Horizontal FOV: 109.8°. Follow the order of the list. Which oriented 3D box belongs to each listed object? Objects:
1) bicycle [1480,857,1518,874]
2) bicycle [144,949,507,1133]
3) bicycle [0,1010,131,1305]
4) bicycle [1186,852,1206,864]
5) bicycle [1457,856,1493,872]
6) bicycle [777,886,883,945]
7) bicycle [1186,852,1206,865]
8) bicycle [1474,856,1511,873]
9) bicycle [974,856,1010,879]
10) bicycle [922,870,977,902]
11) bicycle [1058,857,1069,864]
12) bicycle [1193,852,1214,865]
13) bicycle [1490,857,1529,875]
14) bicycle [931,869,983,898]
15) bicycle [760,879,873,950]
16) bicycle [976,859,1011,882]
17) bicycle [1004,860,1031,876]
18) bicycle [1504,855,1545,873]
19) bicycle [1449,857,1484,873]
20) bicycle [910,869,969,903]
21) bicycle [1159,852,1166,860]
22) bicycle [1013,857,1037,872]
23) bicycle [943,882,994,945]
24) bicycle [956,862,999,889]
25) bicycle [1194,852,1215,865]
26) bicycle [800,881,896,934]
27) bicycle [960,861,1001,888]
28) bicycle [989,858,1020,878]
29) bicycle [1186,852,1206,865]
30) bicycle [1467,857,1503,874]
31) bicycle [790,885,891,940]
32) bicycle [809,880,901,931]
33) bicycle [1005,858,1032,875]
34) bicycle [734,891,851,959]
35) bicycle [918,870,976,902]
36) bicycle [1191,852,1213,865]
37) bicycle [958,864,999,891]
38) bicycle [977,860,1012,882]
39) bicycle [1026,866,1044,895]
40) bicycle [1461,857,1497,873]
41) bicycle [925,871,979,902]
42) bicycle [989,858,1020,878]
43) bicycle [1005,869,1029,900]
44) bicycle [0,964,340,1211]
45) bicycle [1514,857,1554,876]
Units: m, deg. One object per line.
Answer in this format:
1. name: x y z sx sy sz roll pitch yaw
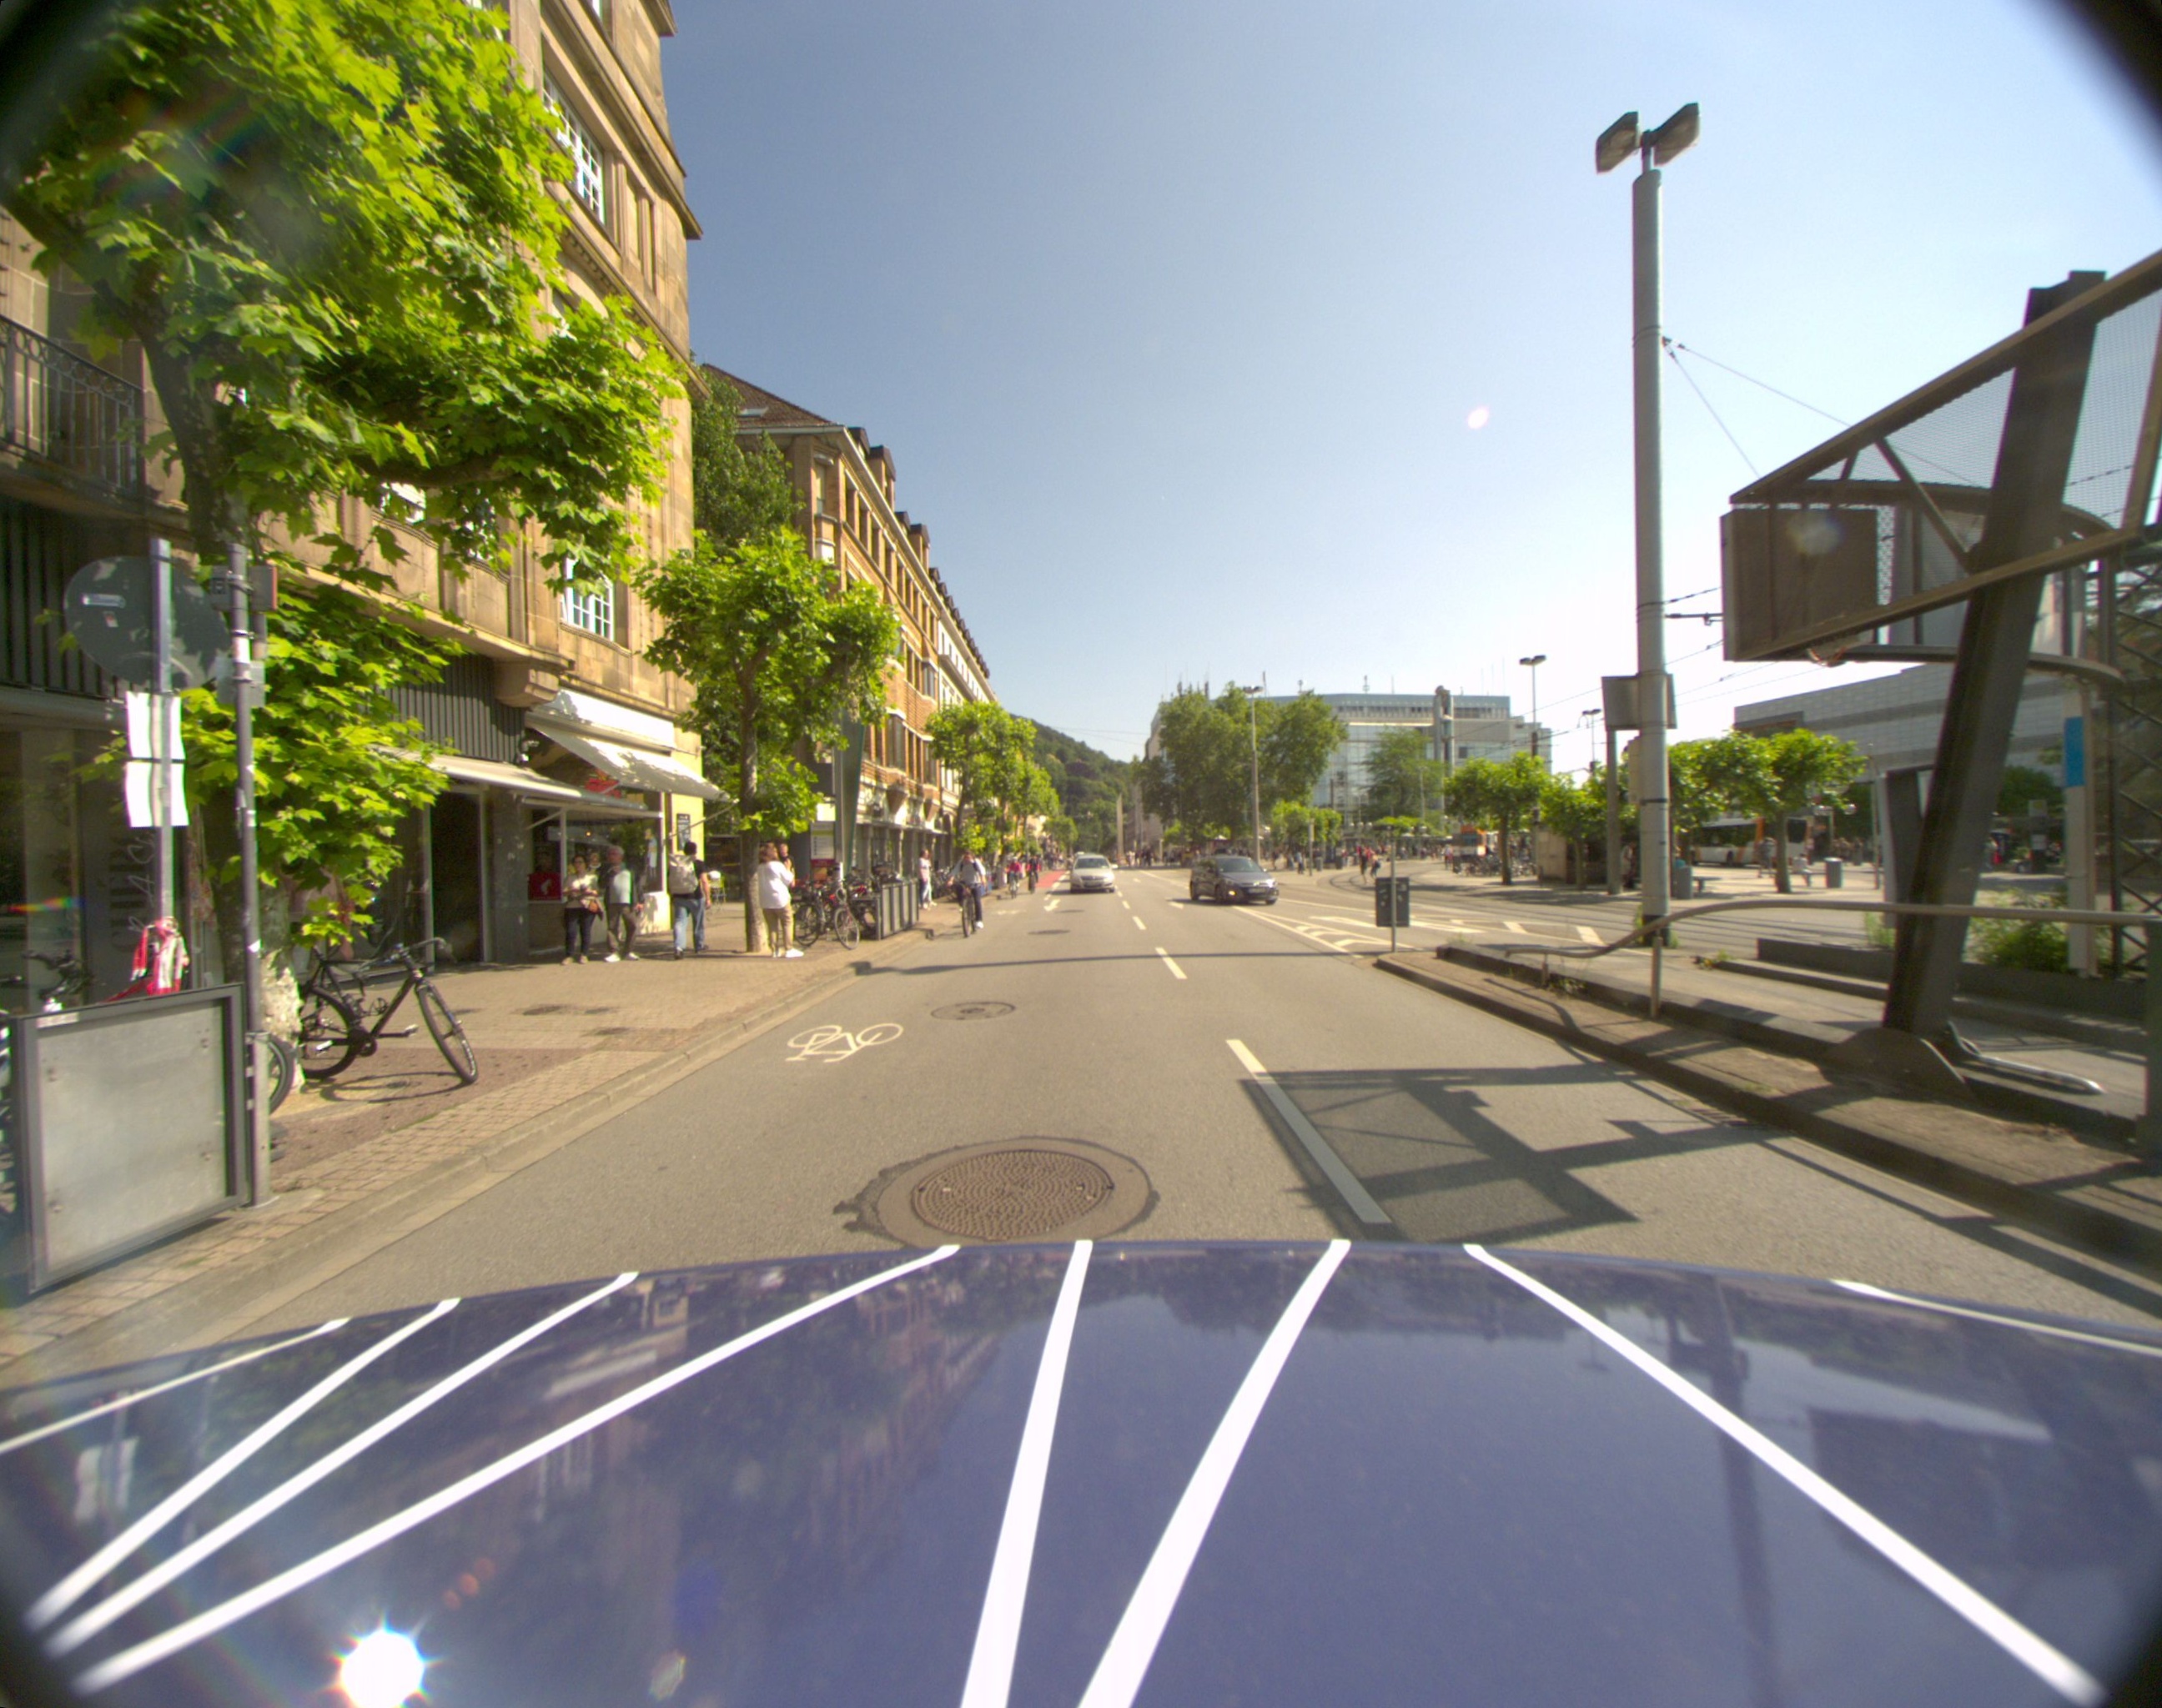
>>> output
1. bicycle: 22.875 0.636 41.581 1.871 0.851 0.546 -2 1 -12
2. bicycle: -4.722 1.153 4.814 1.757 1.012 0.483 -1 1 -2
3. bicycle: -4.885 1.174 2.930 1.757 1.012 0.483 -1 1 -2
4. bicycle: 10.664 0.359 70.512 1.757 1.140 0.483 -1 1 -2
5. bicycle: 22.636 0.566 43.666 1.871 0.867 0.583 -2 1 -12
6. bicycle: -4.596 1.118 13.978 1.757 1.012 0.557 -1 1 -2
7. bicycle: 10.566 0.393 69.890 1.757 1.140 0.483 -1 1 -2
8. bicycle: 22.808 0.588 42.127 1.871 0.851 0.546 -2 1 -12
9. bicycle: -4.518 0.703 38.593 1.757 1.140 0.483 -1 1 -2
10. bicycle: -4.354 1.055 25.225 1.757 1.012 0.483 -1 1 -2
11. bicycle: -2.794 1.003 120.349 1.757 1.140 0.592 -1 1 -2
12. bicycle: 10.707 0.398 66.616 1.757 1.140 0.483 -1 1 -2
13. bicycle: 22.946 0.625 40.707 1.871 0.864 0.581 -2 1 -12
14. bicycle: -4.417 1.045 27.040 1.757 1.012 0.483 -1 1 -2
15. bicycle: -4.631 1.047 13.379 1.757 1.174 0.579 -1 1 -2
16. bicycle: -4.498 0.863 39.090 1.757 1.140 0.483 -1 1 -2
17. bicycle: -4.202 0.933 50.223 1.757 1.062 0.483 -1 1 -2
18. bicycle: 22.814 0.510 39.080 1.871 0.864 0.581 -2 1 -12
19. bicycle: 22.506 0.623 44.322 1.871 0.851 0.546 -2 1 -12
20. bicycle: -4.412 0.991 23.790 1.757 1.012 0.483 -1 1 -2
21. bicycle: 11.652 0.318 108.380 0.729 1.137 1.914 -2 0 14
22. bicycle: -4.181 0.781 57.061 1.778 1.140 0.483 -1 1 -2
23. bicycle: -2.229 1.167 15.311 0.736 1.086 1.897 -2 0 -1
24. bicycle: -4.468 0.916 32.820 1.757 1.140 0.483 -1 1 -2
25. bicycle: 10.728 0.410 66.098 1.757 1.140 0.483 -1 1 -2
26. bicycle: -4.694 1.066 15.366 1.757 1.012 0.483 -1 1 -1
27. bicycle: -4.474 0.907 33.889 1.757 1.140 0.483 -1 1 -2
28. bicycle: -4.485 0.822 44.776 1.757 1.140 0.527 -1 1 -2
29. bicycle: 10.514 0.397 69.326 1.757 1.140 0.483 -1 1 -2
30. bicycle: 22.692 0.652 42.690 1.871 0.851 0.546 -2 1 -12
31. bicycle: -4.634 1.123 14.717 1.757 1.012 0.587 0 1 -2
32. bicycle: -4.744 1.083 16.008 1.757 1.012 0.482 -1 1 -4
33. bicycle: -4.202 0.831 50.767 1.757 1.140 0.483 -1 1 -2
34. bicycle: -4.688 1.121 12.351 1.754 1.012 0.658 -1 1 19
35. bicycle: -4.307 1.024 24.490 1.757 1.012 0.483 -1 1 -2
36. bicycle: 10.716 0.395 67.456 1.865 1.140 0.483 -1 1 -2
37. bicycle: -4.490 1.012 33.351 1.757 1.140 0.483 -1 1 -2
38. bicycle: -4.495 0.883 39.632 1.757 1.140 0.499 -1 1 -2
39. bicycle: -1.877 1.072 31.142 0.667 1.086 1.897 -2 0 -2
40. bicycle: 22.599 0.622 43.182 1.871 0.851 0.546 -2 1 -12
41. bicycle: -4.366 1.100 25.781 1.721 0.979 0.483 -1 1 -2
42. bicycle: -4.434 0.814 44.130 1.757 1.140 0.483 -1 1 -2
43. bicycle: -2.356 1.107 28.025 0.736 1.086 1.819 -2 0 -1
44. bicycle: -5.024 1.162 3.831 1.761 1.012 0.482 -1 1 -27
45. bicycle: 22.963 0.632 38.517 1.871 0.864 0.581 -2 1 -12
